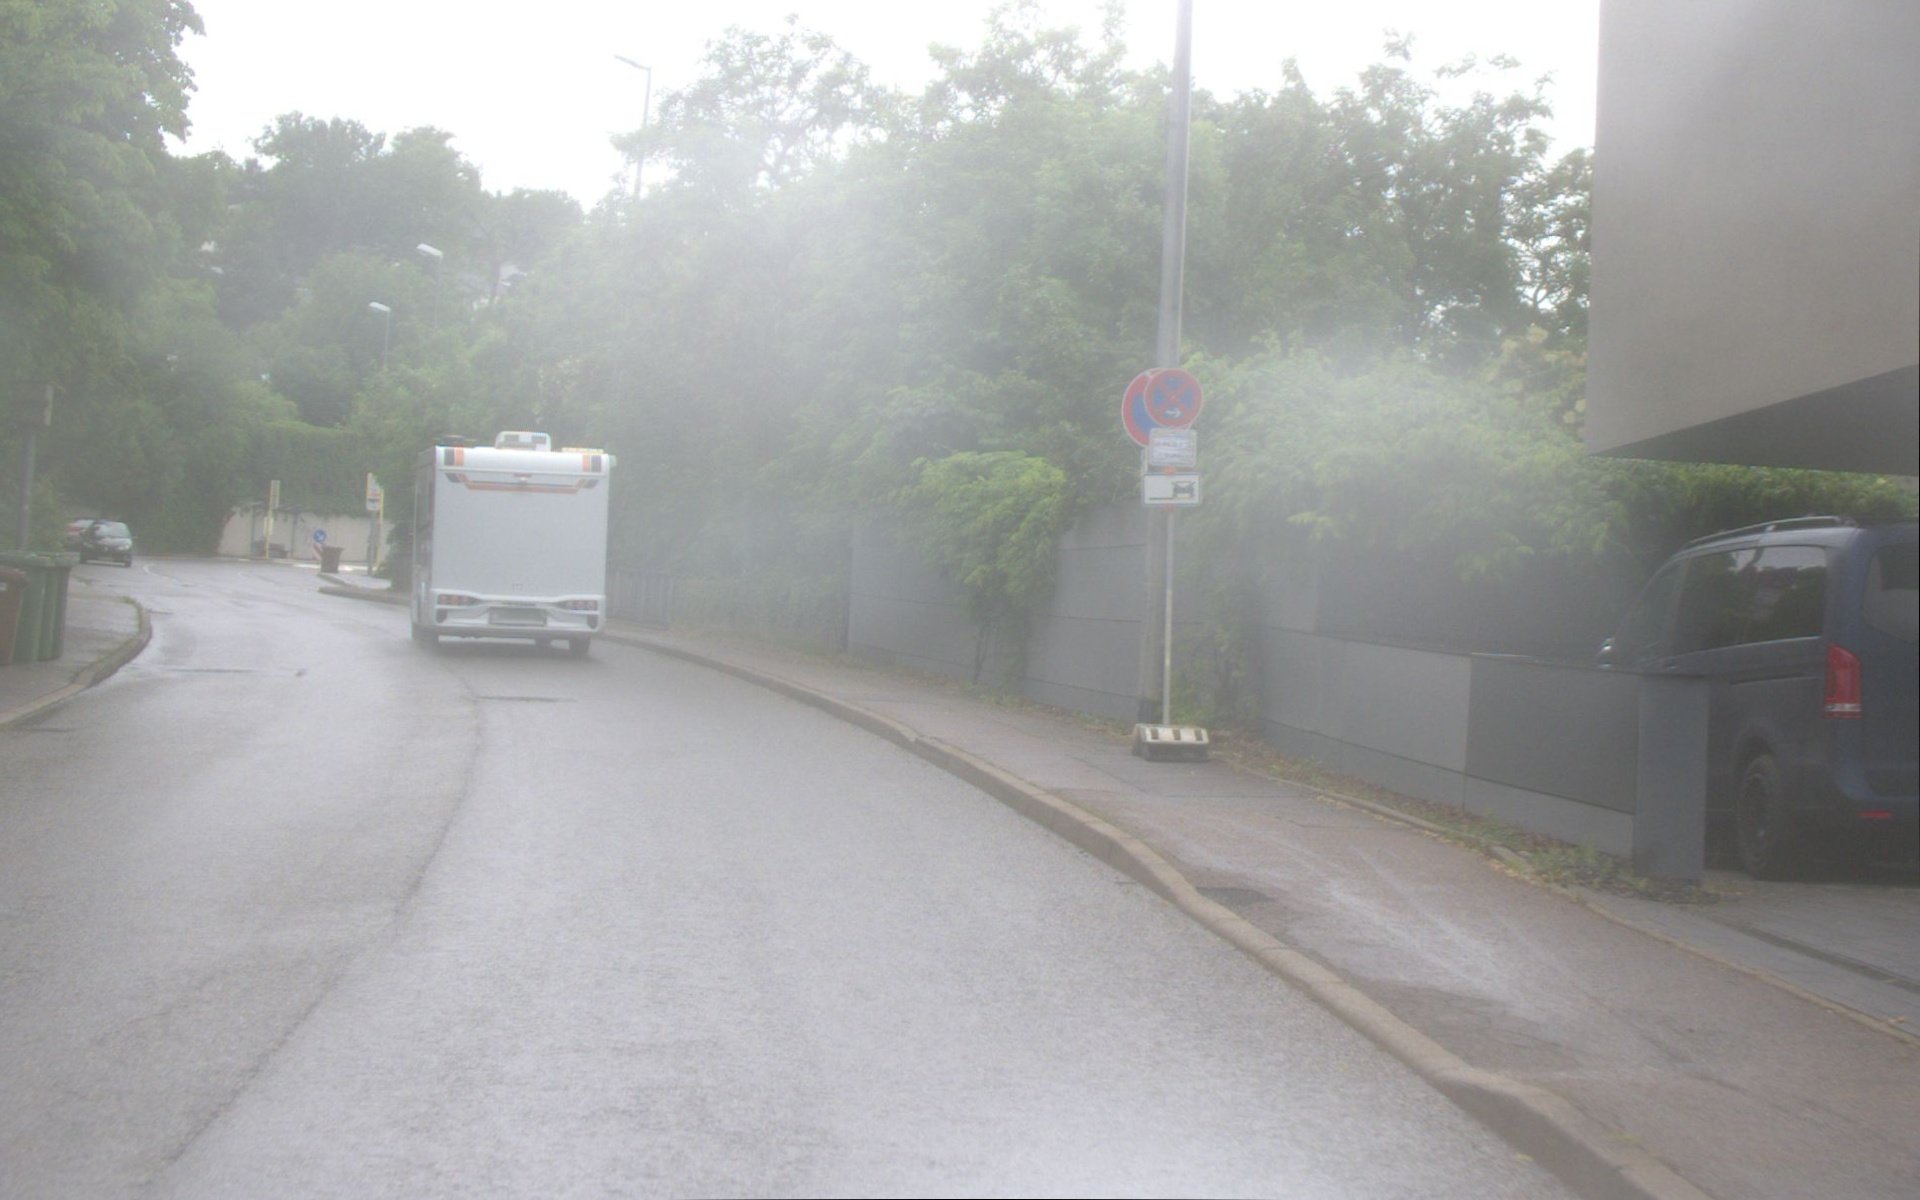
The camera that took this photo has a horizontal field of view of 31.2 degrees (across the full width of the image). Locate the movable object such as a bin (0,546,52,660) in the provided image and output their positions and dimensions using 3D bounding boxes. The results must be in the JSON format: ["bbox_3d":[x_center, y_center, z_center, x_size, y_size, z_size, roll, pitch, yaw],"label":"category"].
[{"bbox_3d":[-9.258,0.022,33.578,0.648,1.077,0.673,2,1,-9],"label":"movable object such as a bin"}]

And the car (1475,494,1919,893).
[{"bbox_3d":[4.541,0.554,19.291,1.993,1.934,4.774,2,-2,-8],"label":"car"}]

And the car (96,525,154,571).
[{"bbox_3d":[-27.267,-1.700,112.334,1.650,1.380,3.530,3,0,-11],"label":"car"}]

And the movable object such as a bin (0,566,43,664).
[{"bbox_3d":[-9.144,0.132,32.815,0.648,0.908,0.673,2,1,-9],"label":"movable object such as a bin"}]

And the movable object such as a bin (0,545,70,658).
[{"bbox_3d":[-9.294,0.010,34.391,0.648,1.100,0.673,2,1,-9],"label":"movable object such as a bin"}]

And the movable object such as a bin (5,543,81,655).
[{"bbox_3d":[-9.328,-0.014,34.986,0.648,1.111,0.505,2,1,-9],"label":"movable object such as a bin"}]

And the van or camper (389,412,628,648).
[{"bbox_3d":[-6.153,-0.884,46.128,2.539,2.915,5.949,1,0,-13],"label":"van or camper"}]
